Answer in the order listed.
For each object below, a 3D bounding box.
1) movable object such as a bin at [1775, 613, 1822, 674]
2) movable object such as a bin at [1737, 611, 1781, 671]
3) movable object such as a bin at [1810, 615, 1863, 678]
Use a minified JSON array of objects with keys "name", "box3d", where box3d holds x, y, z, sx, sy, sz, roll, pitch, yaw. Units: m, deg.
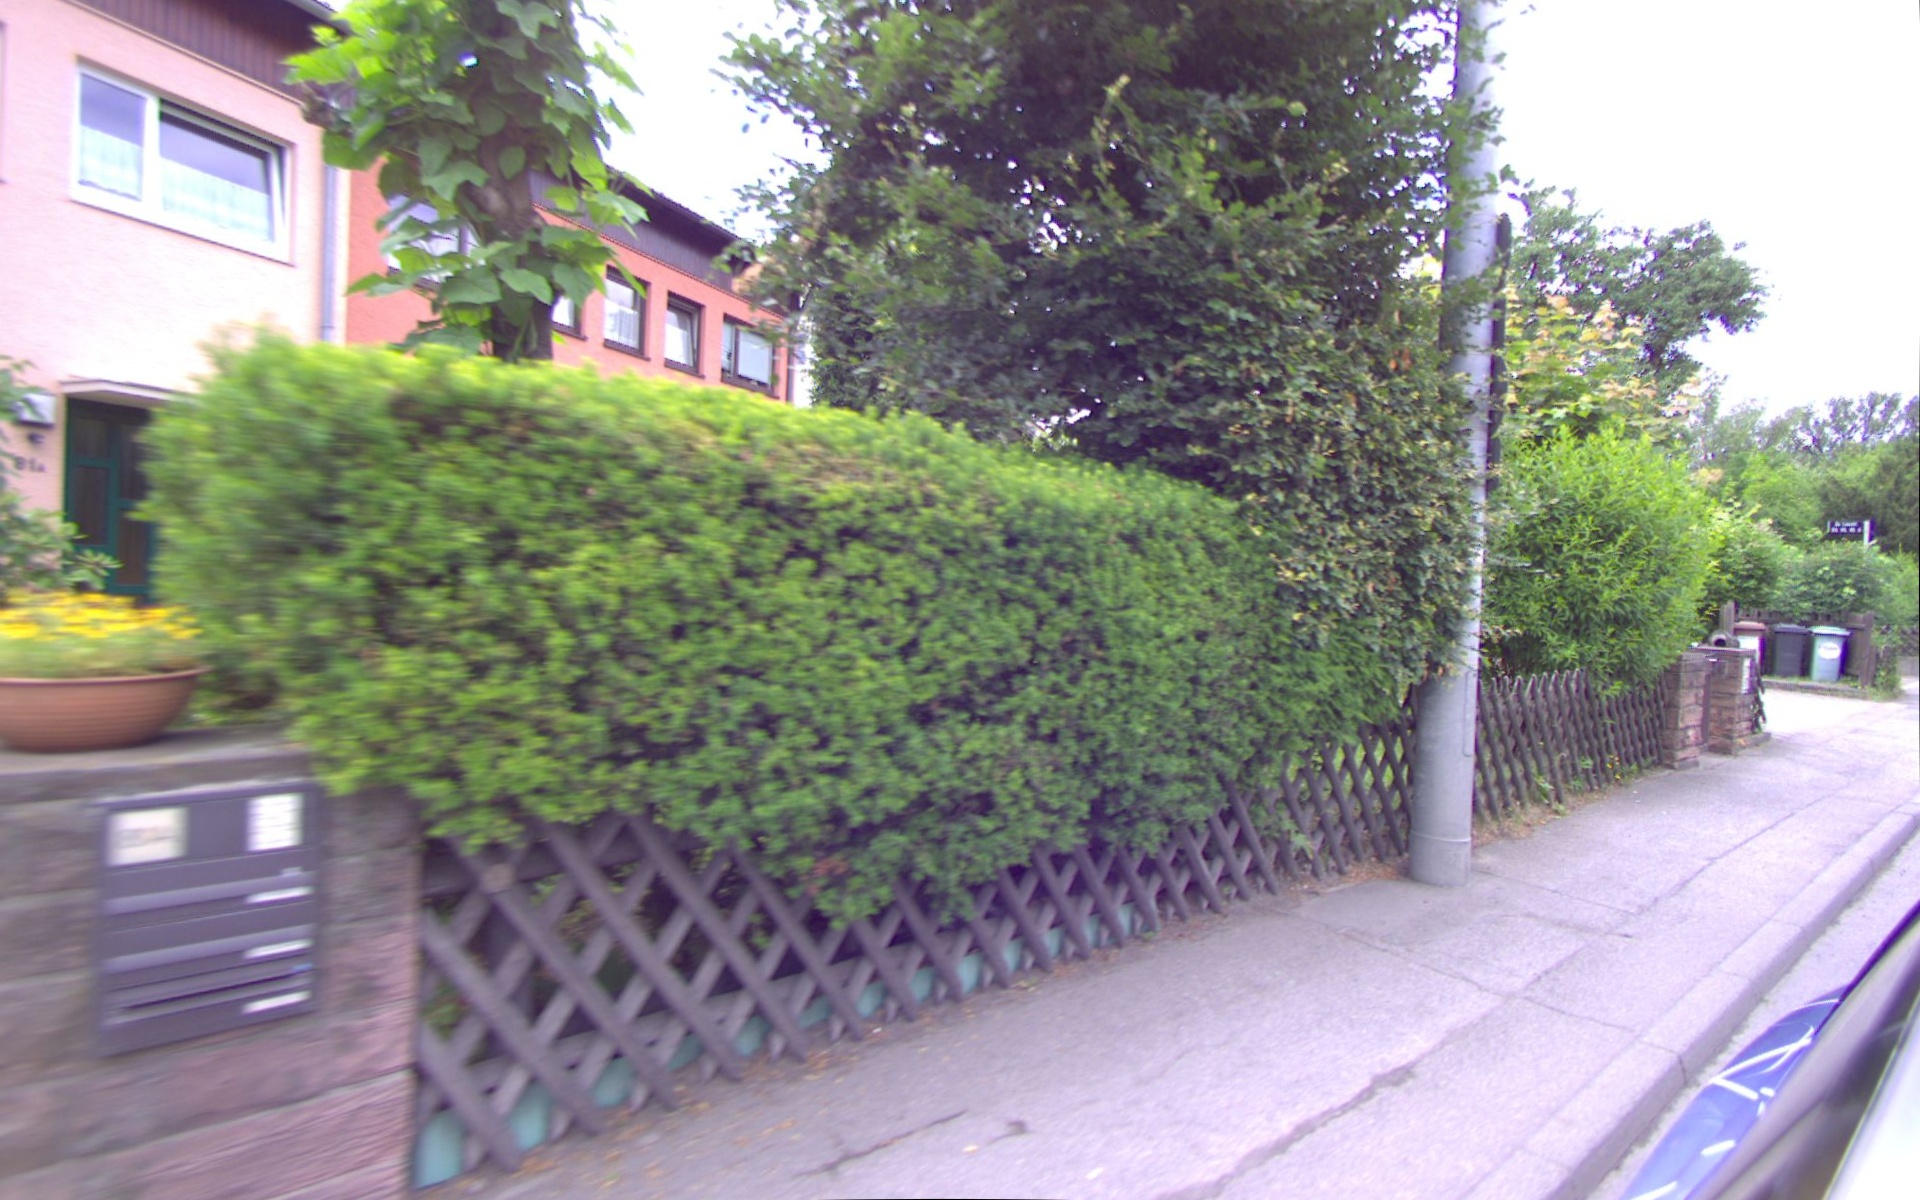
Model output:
[{"name":"movable object such as a bin","box3d":[14.169,0.722,17.114,0.445,0.967,0.678,6,3,32]},{"name":"movable object such as a bin","box3d":[13.746,0.688,17.419,0.445,0.967,0.678,6,3,32]},{"name":"movable object such as a bin","box3d":[14.593,0.767,16.864,0.444,0.967,0.679,6,3,29]}]
